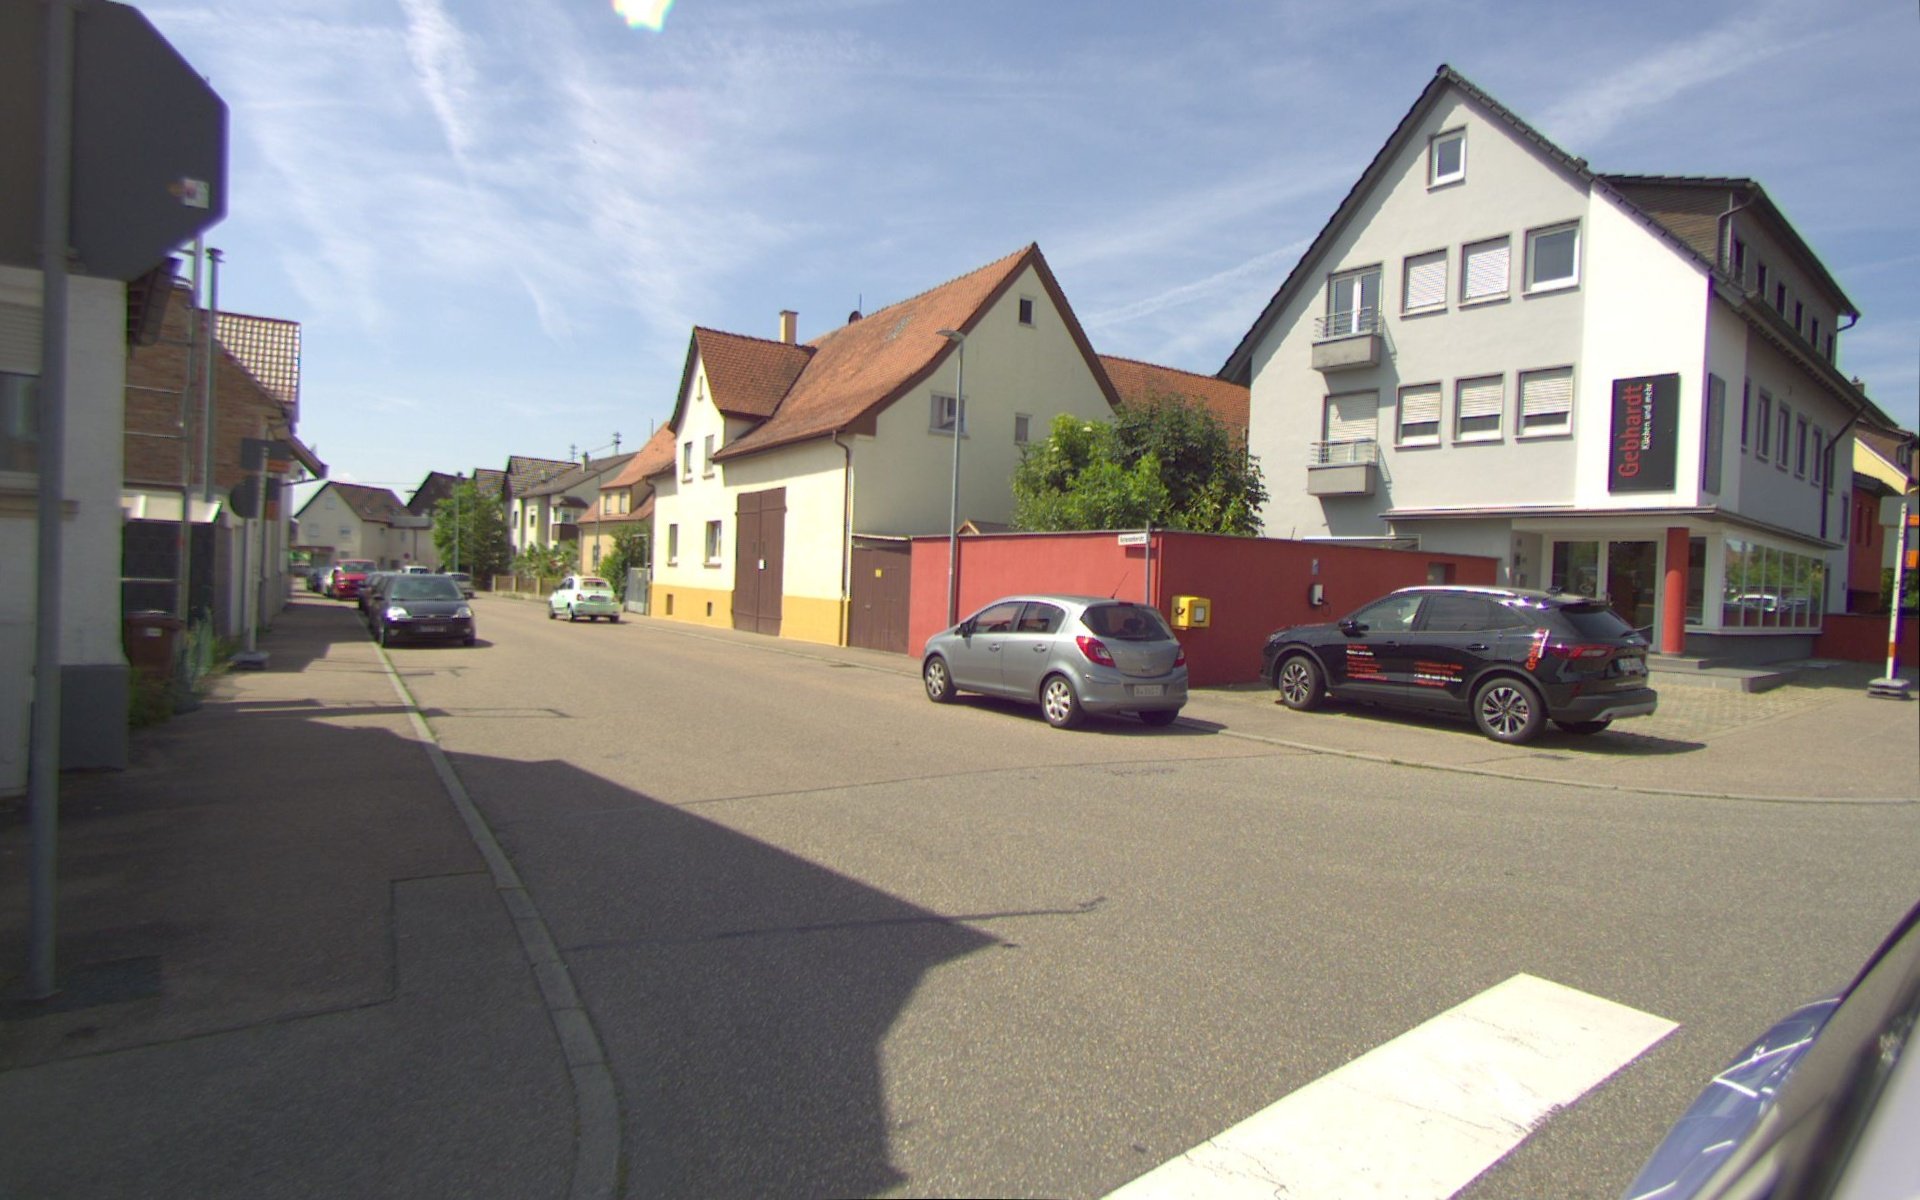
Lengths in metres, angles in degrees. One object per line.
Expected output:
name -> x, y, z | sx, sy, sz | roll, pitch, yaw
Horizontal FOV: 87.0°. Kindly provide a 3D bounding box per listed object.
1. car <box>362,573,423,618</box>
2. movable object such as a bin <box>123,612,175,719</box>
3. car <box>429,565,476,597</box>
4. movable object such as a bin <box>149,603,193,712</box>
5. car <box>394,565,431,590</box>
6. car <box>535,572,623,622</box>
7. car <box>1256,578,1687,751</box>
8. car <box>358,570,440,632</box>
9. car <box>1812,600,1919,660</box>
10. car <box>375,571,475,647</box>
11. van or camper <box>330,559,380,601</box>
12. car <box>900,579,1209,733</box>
car -> -18.960, -0.188, 33.797 | 1.669, 1.408, 4.005 | 1, 1, -30
movable object such as a bin -> -7.474, 0.593, 9.325 | 0.354, 0.958, 0.227 | 0, 1, -45
car -> -29.980, -1.132, 59.733 | 1.812, 1.769, 3.999 | 1, 1, -37
movable object such as a bin -> -7.630, 0.535, 9.783 | 0.284, 1.005, 0.585 | 0, 1, -43
car -> -39.794, -1.666, 73.514 | 1.812, 1.769, 3.999 | 1, 1, -37
car -> -12.920, -0.124, 34.166 | 1.726, 1.499, 4.000 | 3, 0, -36
car -> 5.885, 0.594, 12.211 | 1.812, 1.674, 4.310 | 1, 1, -33
car -> -14.139, -0.020, 25.476 | 1.669, 1.408, 4.005 | 1, 1, -30
car -> 28.590, 0.856, 30.302 | 1.843, 1.691, 4.374 | 0, -4, -39
car -> -11.236, 0.135, 21.155 | 1.669, 1.408, 4.005 | 1, 1, -30
van or camper -> -29.153, -0.996, 48.697 | 1.839, 1.901, 4.403 | 1, 1, -34
car -> 0.979, 0.566, 12.514 | 1.661, 1.523, 4.003 | 2, 0, -32
